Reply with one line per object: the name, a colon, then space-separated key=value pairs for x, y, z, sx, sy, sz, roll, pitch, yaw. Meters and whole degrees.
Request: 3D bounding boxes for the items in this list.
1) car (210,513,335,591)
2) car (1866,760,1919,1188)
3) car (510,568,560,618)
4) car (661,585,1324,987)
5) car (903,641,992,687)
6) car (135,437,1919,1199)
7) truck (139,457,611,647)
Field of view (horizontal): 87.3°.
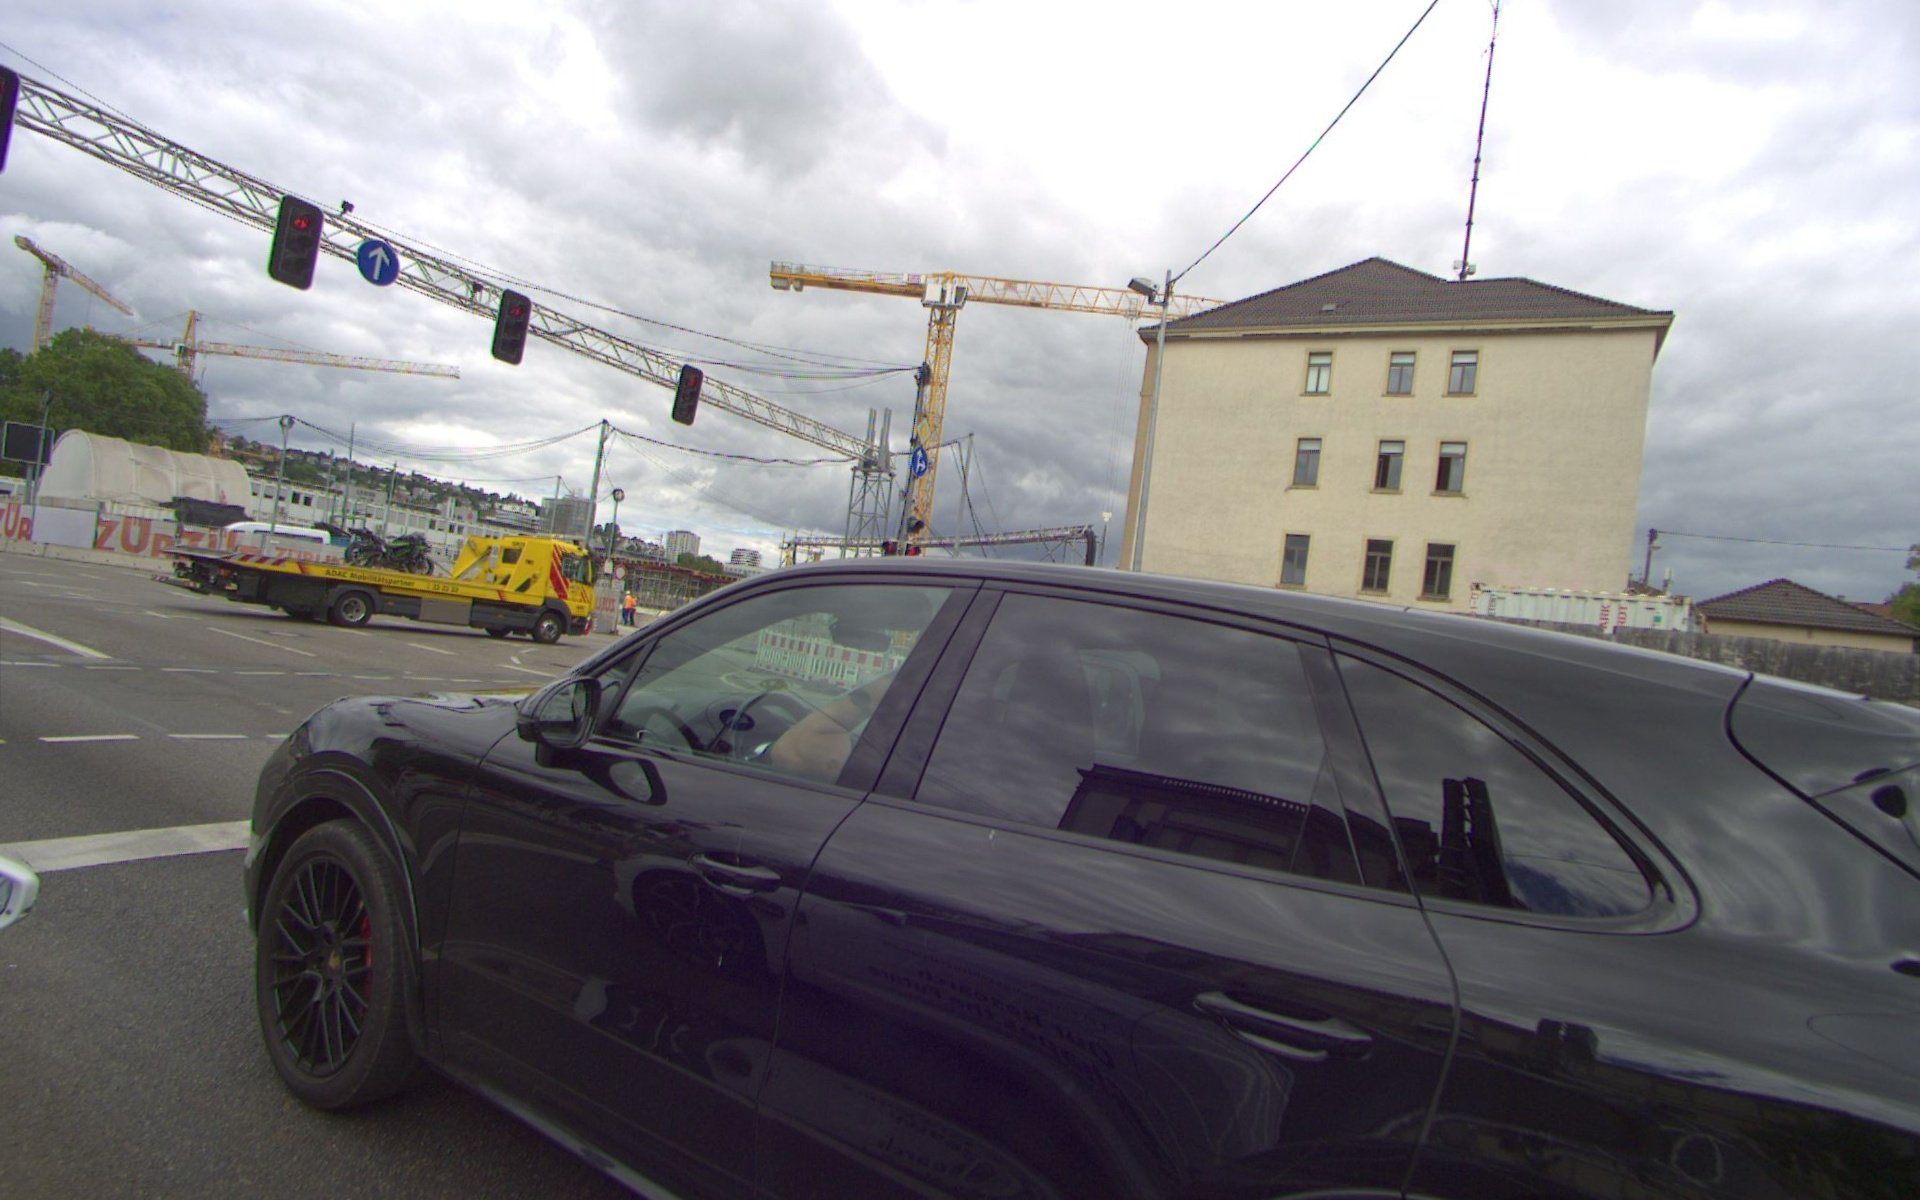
car: x=-29.575 y=-2.039 z=43.368 sx=1.660 sy=2.692 sz=3.979 roll=6 pitch=-2 yaw=45
car: x=5.766 y=1.673 z=2.568 sx=4.729 sy=1.644 sz=1.828 roll=6 pitch=-2 yaw=32
car: x=-19.164 y=-0.323 z=45.296 sx=1.757 sy=1.976 sz=3.108 roll=8 pitch=-2 yaw=-25
car: x=0.115 y=0.973 z=6.662 sx=3.934 sy=1.644 sz=1.679 roll=6 pitch=-2 yaw=32
car: x=-0.462 y=2.716 z=42.233 sx=1.655 sy=1.512 sz=3.993 roll=6 pitch=-2 yaw=34
car: x=-0.068 y=0.656 z=2.679 sx=4.410 sy=1.735 sz=1.828 roll=6 pitch=-2 yaw=32
truck: x=-12.578 y=-0.791 z=22.941 sx=2.582 sy=2.835 sz=9.004 roll=7 pitch=-2 yaw=30
